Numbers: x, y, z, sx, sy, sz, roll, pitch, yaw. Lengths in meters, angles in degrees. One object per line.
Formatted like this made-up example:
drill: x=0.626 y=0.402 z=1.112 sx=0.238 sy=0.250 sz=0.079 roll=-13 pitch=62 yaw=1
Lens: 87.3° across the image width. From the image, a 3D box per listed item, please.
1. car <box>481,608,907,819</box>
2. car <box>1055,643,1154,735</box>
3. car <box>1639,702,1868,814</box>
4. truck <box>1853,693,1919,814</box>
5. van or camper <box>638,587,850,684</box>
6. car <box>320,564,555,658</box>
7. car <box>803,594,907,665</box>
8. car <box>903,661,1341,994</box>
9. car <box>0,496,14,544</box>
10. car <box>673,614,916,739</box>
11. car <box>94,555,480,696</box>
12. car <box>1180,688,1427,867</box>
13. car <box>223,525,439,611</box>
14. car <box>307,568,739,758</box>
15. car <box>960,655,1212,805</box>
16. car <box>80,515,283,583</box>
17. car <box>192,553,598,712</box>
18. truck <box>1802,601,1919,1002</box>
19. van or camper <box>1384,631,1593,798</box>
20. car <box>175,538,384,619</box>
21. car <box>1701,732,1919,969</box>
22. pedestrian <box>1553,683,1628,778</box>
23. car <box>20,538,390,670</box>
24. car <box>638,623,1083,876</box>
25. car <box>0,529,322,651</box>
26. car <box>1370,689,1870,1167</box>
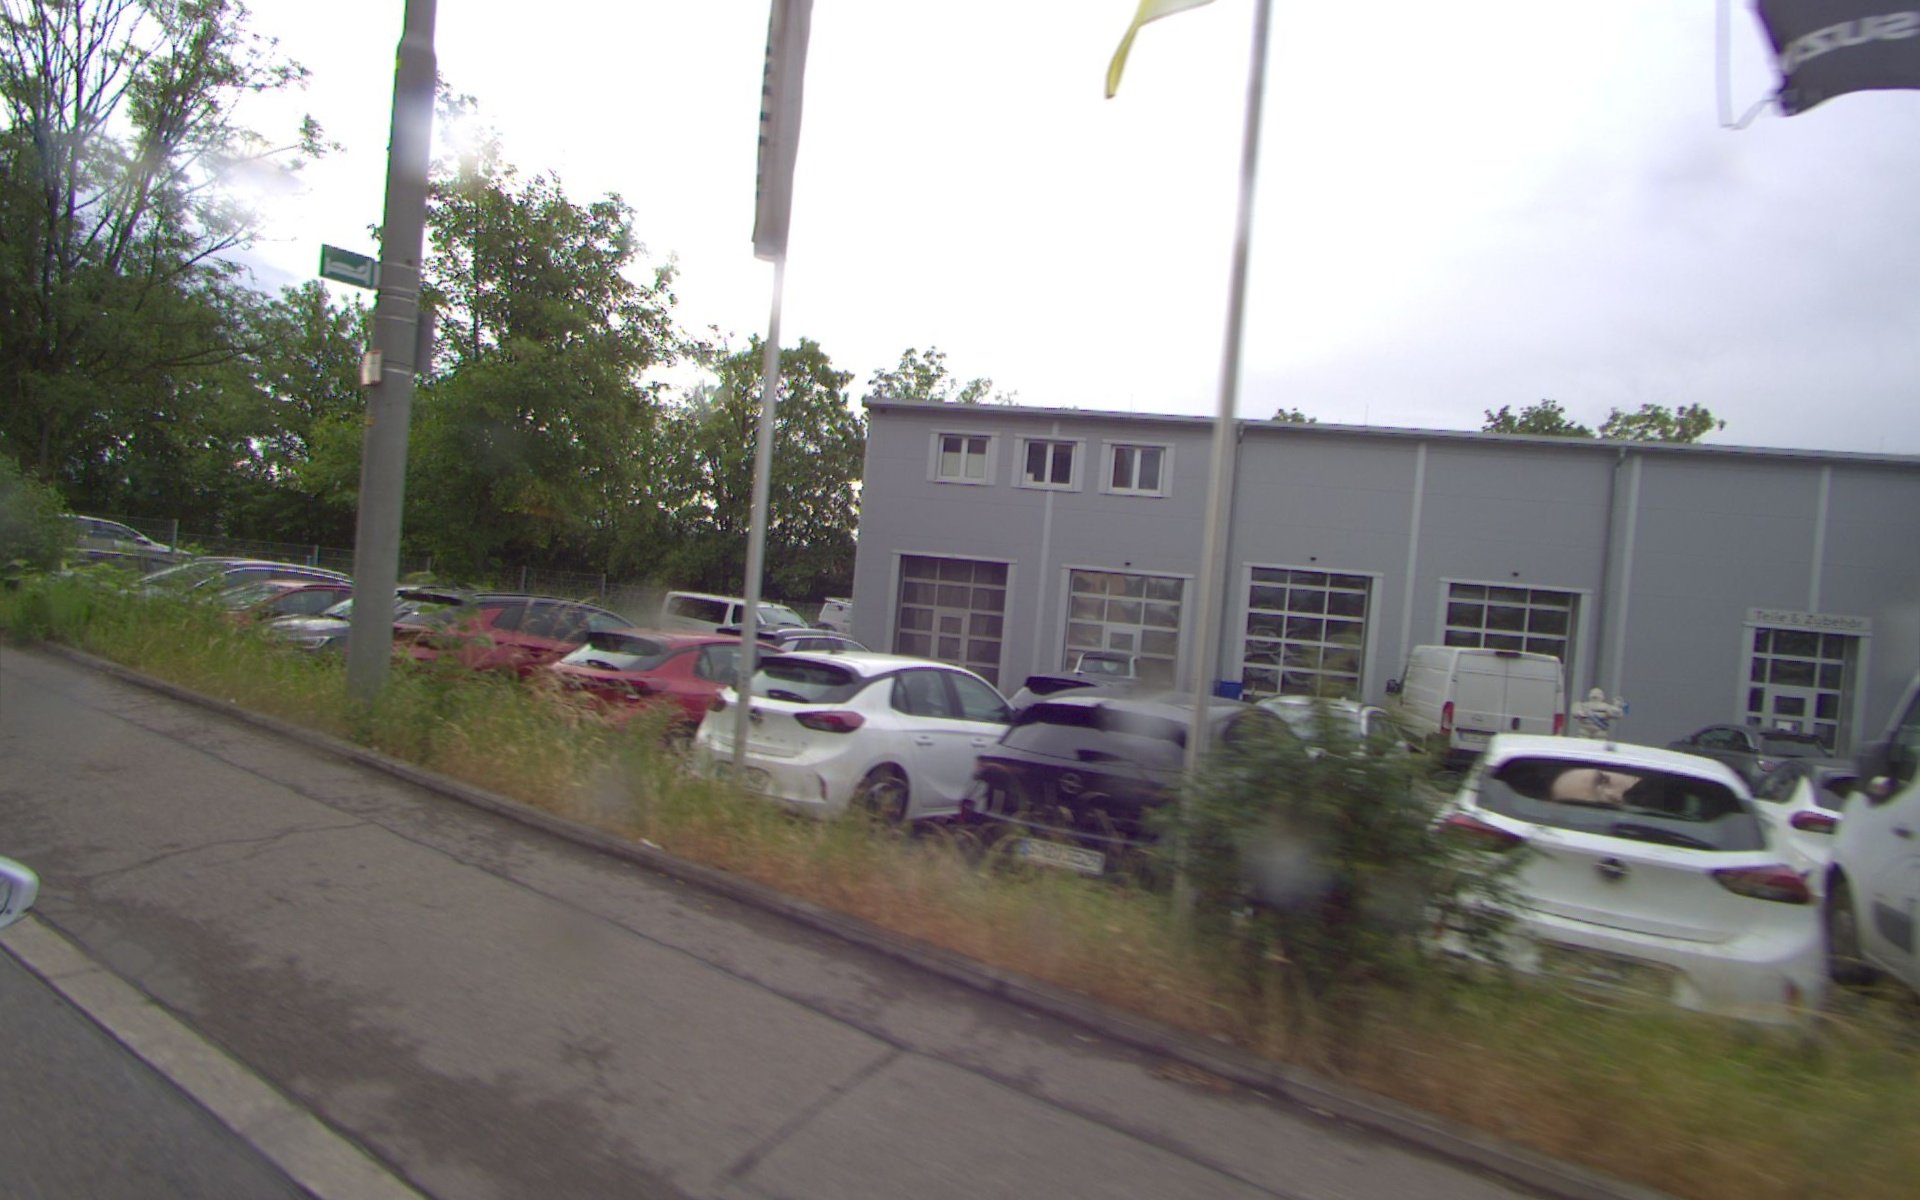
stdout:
car: x=-2.451 y=1.083 z=10.261 sx=1.731 sy=1.526 sz=3.993 roll=7 pitch=-1 yaw=31
car: x=3.515 y=2.017 z=23.896 sx=1.806 sy=1.622 sz=3.999 roll=7 pitch=2 yaw=13
car: x=15.820 y=3.083 z=20.363 sx=1.790 sy=1.570 sz=3.905 roll=7 pitch=-1 yaw=8
truck: x=20.072 y=3.176 z=18.587 sx=2.322 sy=2.265 sz=6.275 roll=3 pitch=0 yaw=10
van or camper: x=-5.794 y=0.915 z=26.660 sx=5.523 sy=1.810 sz=1.996 roll=7 pitch=0 yaw=32
car: x=-10.810 y=0.296 z=21.111 sx=1.772 sy=1.540 sz=3.997 roll=7 pitch=-1 yaw=26
car: x=-3.548 y=1.045 z=34.908 sx=2.087 sy=2.038 sz=4.429 roll=7 pitch=-1 yaw=13
car: x=1.451 y=1.335 z=7.303 sx=1.884 sy=1.471 sz=3.869 roll=7 pitch=-1 yaw=28
car: x=-33.023 y=-2.836 z=31.862 sx=1.772 sy=1.540 sz=3.997 roll=7 pitch=-1 yaw=26
car: x=-2.414 y=1.185 z=15.534 sx=1.532 sy=1.537 sz=3.695 roll=7 pitch=-1 yaw=32
car: x=-9.105 y=0.441 z=13.968 sx=1.773 sy=1.540 sz=3.993 roll=7 pitch=-1 yaw=31
car: x=3.978 y=1.830 z=11.258 sx=1.604 sy=1.435 sz=3.694 roll=7 pitch=-1 yaw=34
car: x=-15.126 y=-0.725 z=24.426 sx=1.772 sy=1.540 sz=3.997 roll=7 pitch=-1 yaw=26
car: x=-4.696 y=0.738 z=11.440 sx=1.731 sy=1.608 sz=4.135 roll=7 pitch=-1 yaw=32
car: x=1.740 y=1.578 z=12.802 sx=1.604 sy=1.435 sz=3.626 roll=7 pitch=-1 yaw=34
car: x=-21.038 y=-1.336 z=27.359 sx=1.772 sy=1.543 sz=3.989 roll=7 pitch=3 yaw=26
car: x=-6.841 y=0.478 z=12.637 sx=1.773 sy=1.540 sz=3.993 roll=7 pitch=-1 yaw=31
truck: x=5.687 y=1.062 z=4.096 sx=2.305 sy=2.038 sz=5.158 roll=8 pitch=-1 yaw=29
van or camper: x=10.383 y=2.078 z=20.330 sx=2.244 sy=2.522 sz=5.284 roll=7 pitch=2 yaw=14
car: x=-17.336 y=-0.498 z=25.831 sx=1.772 sy=1.540 sz=3.997 roll=7 pitch=-1 yaw=26
car: x=8.154 y=2.182 z=9.389 sx=1.532 sy=1.537 sz=3.695 roll=7 pitch=-1 yaw=32
pedestrian: x=13.881 y=2.855 z=22.181 sx=1.002 sy=1.904 sz=0.696 roll=7 pitch=0 yaw=7
car: x=-11.129 y=0.152 z=15.173 sx=1.772 sy=1.540 sz=3.997 roll=7 pitch=-1 yaw=26
car: x=-0.631 y=1.165 z=8.781 sx=1.781 sy=1.512 sz=3.769 roll=7 pitch=-1 yaw=33
car: x=-13.074 y=-0.087 z=16.459 sx=1.772 sy=1.540 sz=3.997 roll=7 pitch=-1 yaw=26
car: x=3.681 y=1.507 z=6.114 sx=1.706 sy=1.690 sz=3.699 roll=7 pitch=-1 yaw=28
